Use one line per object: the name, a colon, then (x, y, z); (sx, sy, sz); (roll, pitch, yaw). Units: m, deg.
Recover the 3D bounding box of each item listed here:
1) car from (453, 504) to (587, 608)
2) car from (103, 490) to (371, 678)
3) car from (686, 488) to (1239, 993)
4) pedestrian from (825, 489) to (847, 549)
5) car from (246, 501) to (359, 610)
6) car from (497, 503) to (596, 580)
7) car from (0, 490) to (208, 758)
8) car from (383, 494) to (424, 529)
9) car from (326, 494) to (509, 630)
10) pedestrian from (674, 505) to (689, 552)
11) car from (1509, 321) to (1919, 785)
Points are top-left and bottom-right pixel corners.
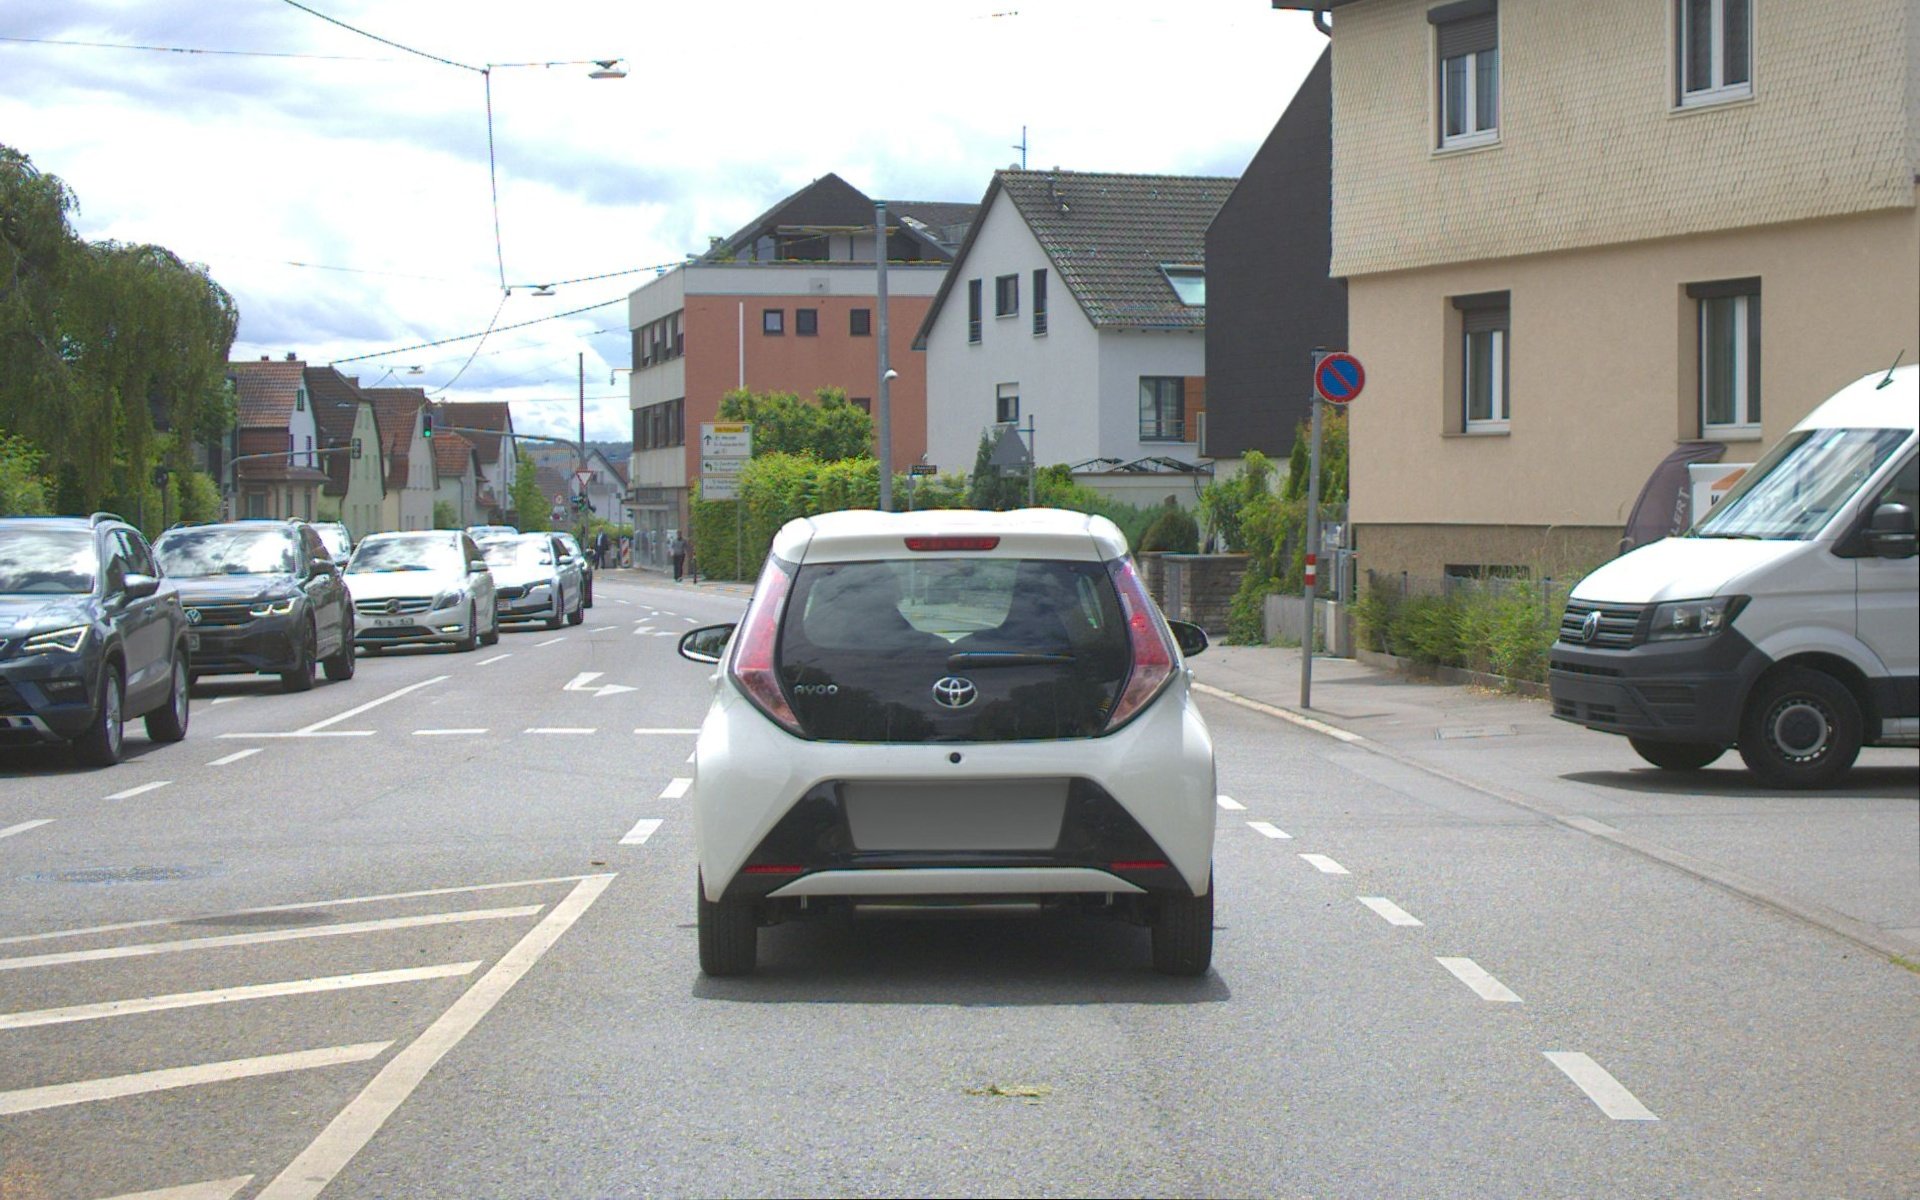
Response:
car: (-6.761, -0.718, 53.187); (1.775, 1.425, 4.523); (-3, 2, -4)
car: (-6.879, -0.212, 33.087); (1.775, 1.597, 4.170); (-3, 2, -2)
car: (-0.099, 0.374, 12.125); (1.621, 1.481, 4.001); (0, 1, -3)
pedestrian: (-2.991, -1.962, 82.899); (0.413, 1.433, 0.438); (0, 2, -17)
car: (-11.974, -0.846, 62.783); (1.774, 1.839, 4.010); (-3, 2, -8)
car: (-8.355, -1.216, 69.773); (1.775, 1.425, 4.010); (-2, 2, -4)
car: (-6.214, 0.088, 22.689); (1.775, 1.597, 4.039); (-1, 2, -3)
car: (-27.859, -4.447, 172.211); (1.993, 1.678, 4.001); (1, 2, -9)
car: (-6.916, -0.534, 44.220); (1.775, 1.556, 4.170); (-3, 2, -2)
pedestrian: (-8.634, -2.215, 106.497); (0.413, 1.433, 0.438); (0, 2, -10)
car: (6.496, -0.329, 20.658); (5.994, 2.572, 2.001); (-1, 2, -12)
